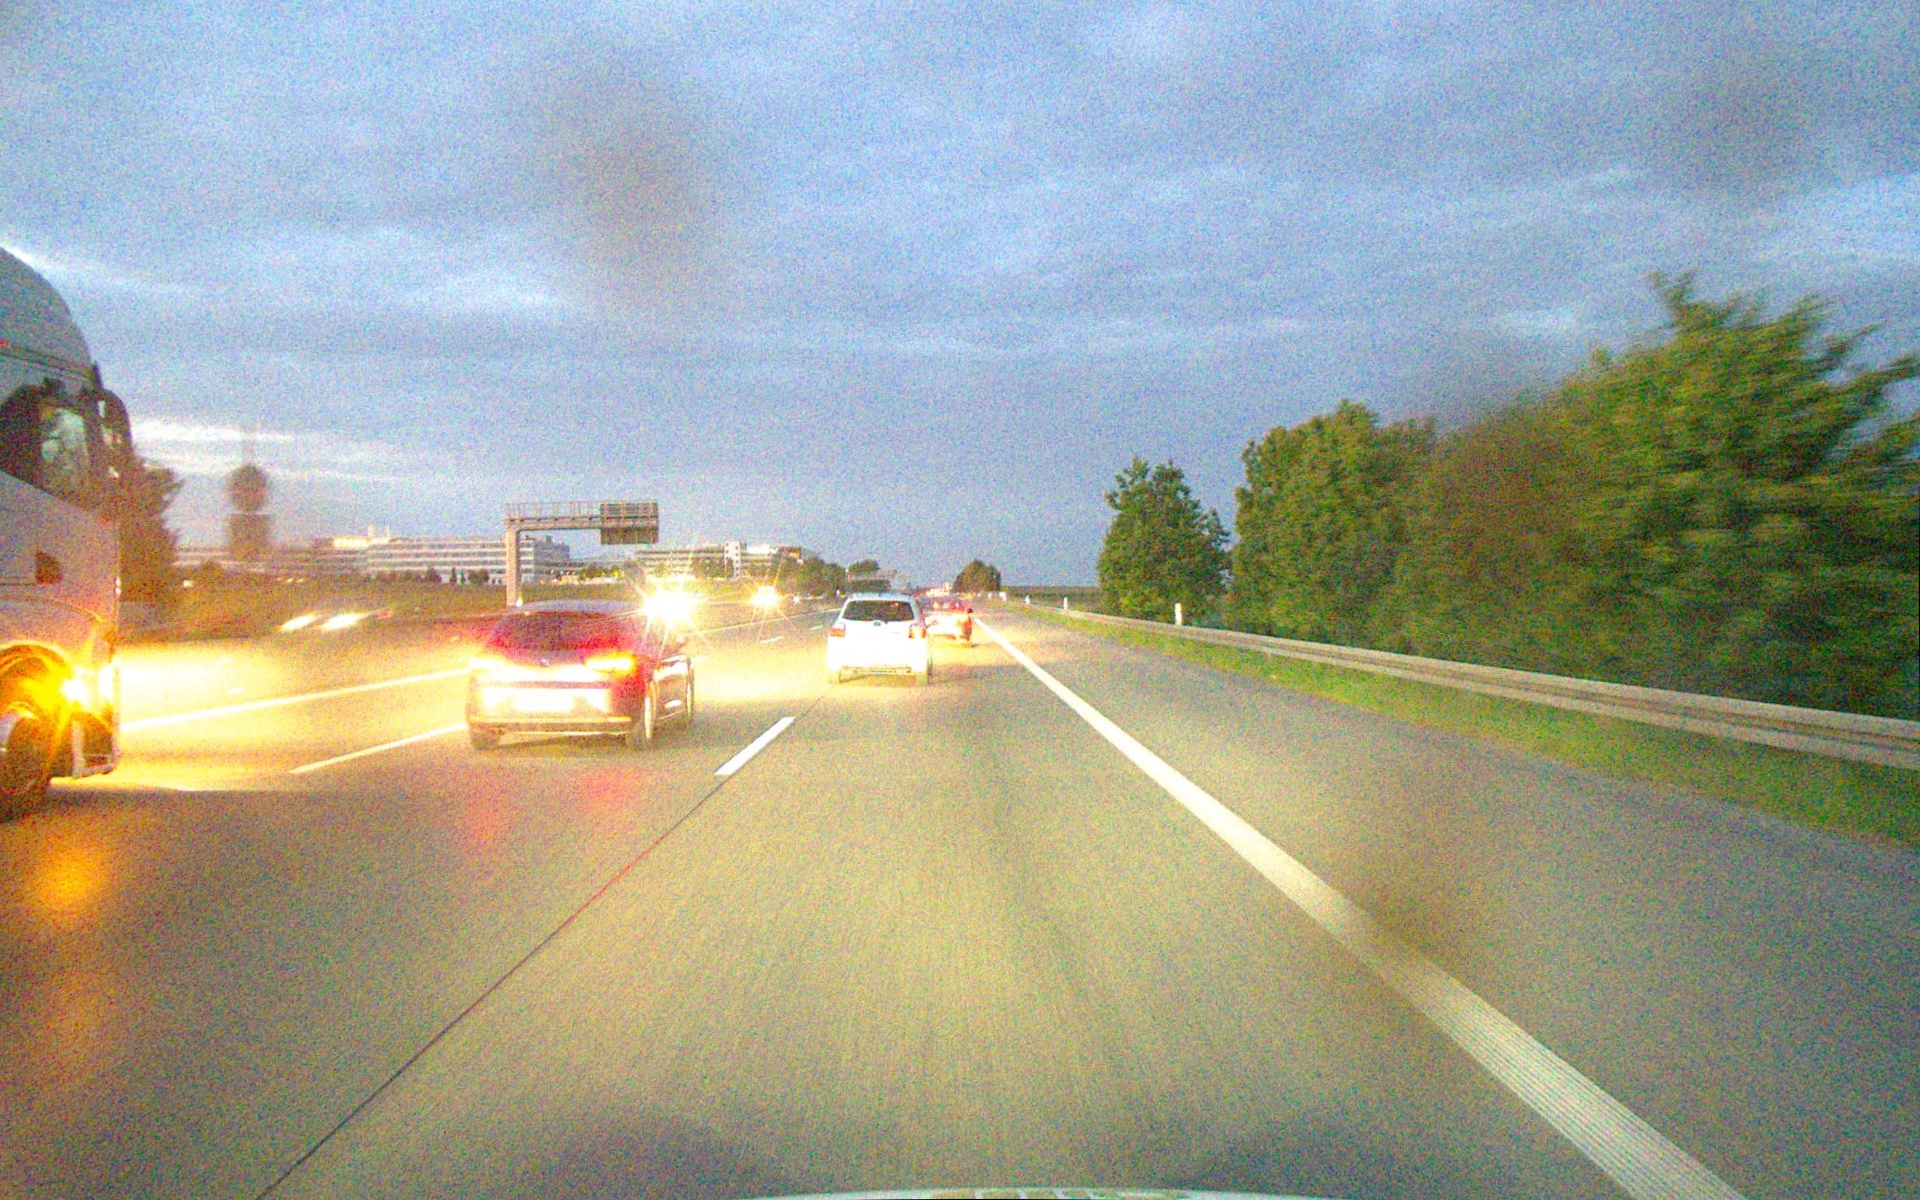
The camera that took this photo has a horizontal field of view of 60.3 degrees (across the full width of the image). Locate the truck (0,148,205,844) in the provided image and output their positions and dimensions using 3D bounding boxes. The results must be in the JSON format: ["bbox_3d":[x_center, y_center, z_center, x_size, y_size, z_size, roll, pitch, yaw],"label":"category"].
[{"bbox_3d":[-7.097,-0.620,9.483,2.721,4.164,6.102,0,0,0],"label":"truck"}]

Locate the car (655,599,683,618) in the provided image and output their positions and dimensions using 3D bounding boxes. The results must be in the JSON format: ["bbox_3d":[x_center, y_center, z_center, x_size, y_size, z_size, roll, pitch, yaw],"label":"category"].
[{"bbox_3d":[-20.239,0.563,115.111,1.336,1.283,3.506,1,0,-1],"label":"car"}]

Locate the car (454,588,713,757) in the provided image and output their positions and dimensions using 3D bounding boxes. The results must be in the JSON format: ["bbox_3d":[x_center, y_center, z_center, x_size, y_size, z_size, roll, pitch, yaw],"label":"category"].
[{"bbox_3d":[-3.746,0.668,17.275,1.688,1.497,4.725,1,0,-1],"label":"car"}]

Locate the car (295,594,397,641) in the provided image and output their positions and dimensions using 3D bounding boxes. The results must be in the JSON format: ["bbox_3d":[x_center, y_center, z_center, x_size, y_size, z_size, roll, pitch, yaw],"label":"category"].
[{"bbox_3d":[-19.186,0.542,51.838,1.708,1.386,4.110,1,0,-1],"label":"car"}]

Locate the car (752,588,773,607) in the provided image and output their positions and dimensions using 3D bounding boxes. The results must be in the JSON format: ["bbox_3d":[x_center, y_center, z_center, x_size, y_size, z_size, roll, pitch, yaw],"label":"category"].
[{"bbox_3d":[-25.216,-0.305,211.020,1.953,2.429,5.835,1,0,-1],"label":"car"}]

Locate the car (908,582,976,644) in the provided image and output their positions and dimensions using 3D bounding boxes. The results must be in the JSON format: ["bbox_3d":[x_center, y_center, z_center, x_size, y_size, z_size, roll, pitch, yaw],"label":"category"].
[{"bbox_3d":[-0.532,0.363,47.439,1.842,1.672,3.999,1,0,-1],"label":"car"}]

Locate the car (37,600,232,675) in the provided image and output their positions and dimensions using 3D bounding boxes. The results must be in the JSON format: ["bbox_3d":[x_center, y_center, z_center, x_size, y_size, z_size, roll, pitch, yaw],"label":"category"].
[{"bbox_3d":[-15.272,0.664,30.845,1.668,1.270,3.999,1,0,-1],"label":"car"}]

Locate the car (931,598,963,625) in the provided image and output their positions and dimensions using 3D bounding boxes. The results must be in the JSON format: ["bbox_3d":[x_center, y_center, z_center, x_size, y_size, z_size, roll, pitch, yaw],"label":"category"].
[{"bbox_3d":[-0.803,0.721,101.137,1.842,1.579,3.999,1,0,-1],"label":"car"}]

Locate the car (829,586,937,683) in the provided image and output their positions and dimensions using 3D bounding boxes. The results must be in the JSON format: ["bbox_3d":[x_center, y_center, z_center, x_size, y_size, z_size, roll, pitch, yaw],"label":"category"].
[{"bbox_3d":[-1.291,0.575,29.300,1.708,1.551,4.413,1,0,0],"label":"car"}]

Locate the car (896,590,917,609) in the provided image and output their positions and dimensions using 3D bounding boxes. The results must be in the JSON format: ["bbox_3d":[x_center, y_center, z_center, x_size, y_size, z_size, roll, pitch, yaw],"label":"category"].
[{"bbox_3d":[-5.664,-0.066,175.593,2.154,1.912,3.999,1,0,-1],"label":"car"}]

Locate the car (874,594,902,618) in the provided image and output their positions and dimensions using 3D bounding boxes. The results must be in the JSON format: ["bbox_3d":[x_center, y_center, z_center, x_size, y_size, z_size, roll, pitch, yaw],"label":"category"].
[{"bbox_3d":[-4.912,0.386,113.090,1.842,1.579,3.999,1,0,-1],"label":"car"}]
